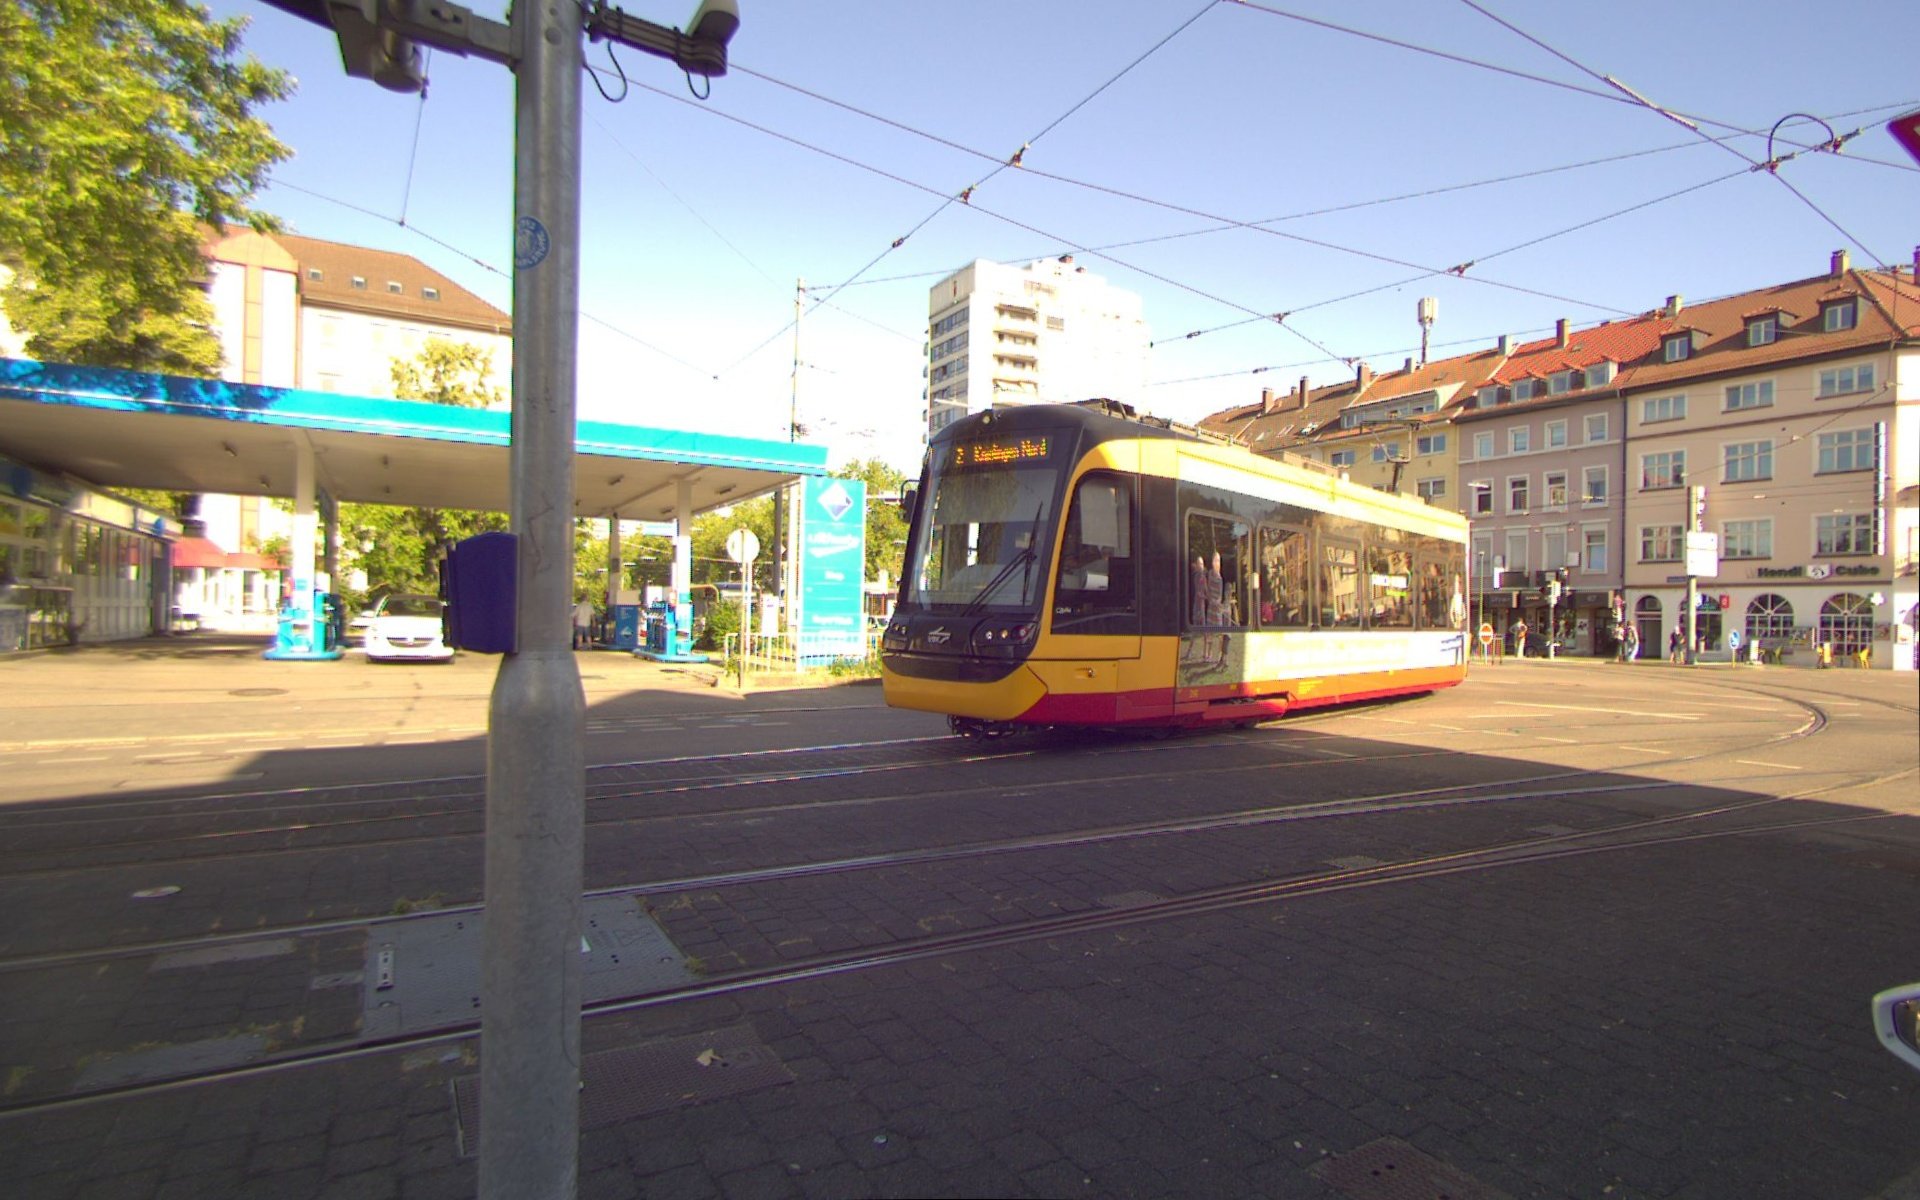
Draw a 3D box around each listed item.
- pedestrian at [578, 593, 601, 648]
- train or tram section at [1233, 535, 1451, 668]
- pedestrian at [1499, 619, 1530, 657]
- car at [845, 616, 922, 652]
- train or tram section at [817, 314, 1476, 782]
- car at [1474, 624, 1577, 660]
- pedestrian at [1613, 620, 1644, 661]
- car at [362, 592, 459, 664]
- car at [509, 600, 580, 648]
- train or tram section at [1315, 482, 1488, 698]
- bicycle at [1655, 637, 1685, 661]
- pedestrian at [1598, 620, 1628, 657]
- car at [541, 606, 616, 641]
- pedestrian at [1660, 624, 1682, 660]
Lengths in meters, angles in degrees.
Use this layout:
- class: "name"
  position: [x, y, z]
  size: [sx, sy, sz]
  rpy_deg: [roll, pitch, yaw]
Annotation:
- class: "pedestrian"
  position: [-11.598, 0.643, 31.473]
  size: [0.493, 1.724, 0.497]
  rpy_deg: [0, -1, 44]
- class: "train or tram section"
  position: [12.895, 0.147, 35.653]
  size: [2.884, 3.864, 12.120]
  rpy_deg: [1, -1, -1]
- class: "pedestrian"
  position: [24.393, 1.667, 44.178]
  size: [0.821, 1.598, 0.847]
  rpy_deg: [2, 0, -20]
- class: "car"
  position: [-3.599, 1.548, 46.737]
  size: [1.871, 1.550, 3.963]
  rpy_deg: [1, -1, -33]
- class: "train or tram section"
  position: [3.918, -0.292, 14.153]
  size: [2.899, 3.864, 12.986]
  rpy_deg: [0, -1, 41]
- class: "car"
  position: [30.815, 2.290, 54.841]
  size: [2.277, 1.734, 4.350]
  rpy_deg: [2, 0, -27]
- class: "pedestrian"
  position: [26.429, 1.597, 39.735]
  size: [0.817, 1.598, 0.552]
  rpy_deg: [2, 0, -2]
- class: "car"
  position: [-12.211, 0.598, 22.351]
  size: [1.737, 1.461, 3.543]
  rpy_deg: [1, -1, -29]
- class: "car"
  position: [-13.561, 0.778, 32.678]
  size: [1.737, 1.461, 3.543]
  rpy_deg: [1, -1, -29]
- class: "train or tram section"
  position: [10.520, -0.057, 24.398]
  size: [2.885, 3.864, 12.816]
  rpy_deg: [1, -1, 22]
- class: "bicycle"
  position: [33.972, 2.335, 48.048]
  size: [1.479, 1.091, 0.570]
  rpy_deg: [2, 0, -30]
- class: "pedestrian"
  position: [28.668, 1.686, 44.083]
  size: [0.821, 1.598, 0.724]
  rpy_deg: [2, 0, -20]
- class: "car"
  position: [-16.872, 1.036, 44.603]
  size: [1.722, 1.461, 3.572]
  rpy_deg: [1, -1, 5]
- class: "pedestrian"
  position: [34.006, 2.029, 48.063]
  size: [0.743, 1.692, 0.579]
  rpy_deg: [2, 0, -30]
